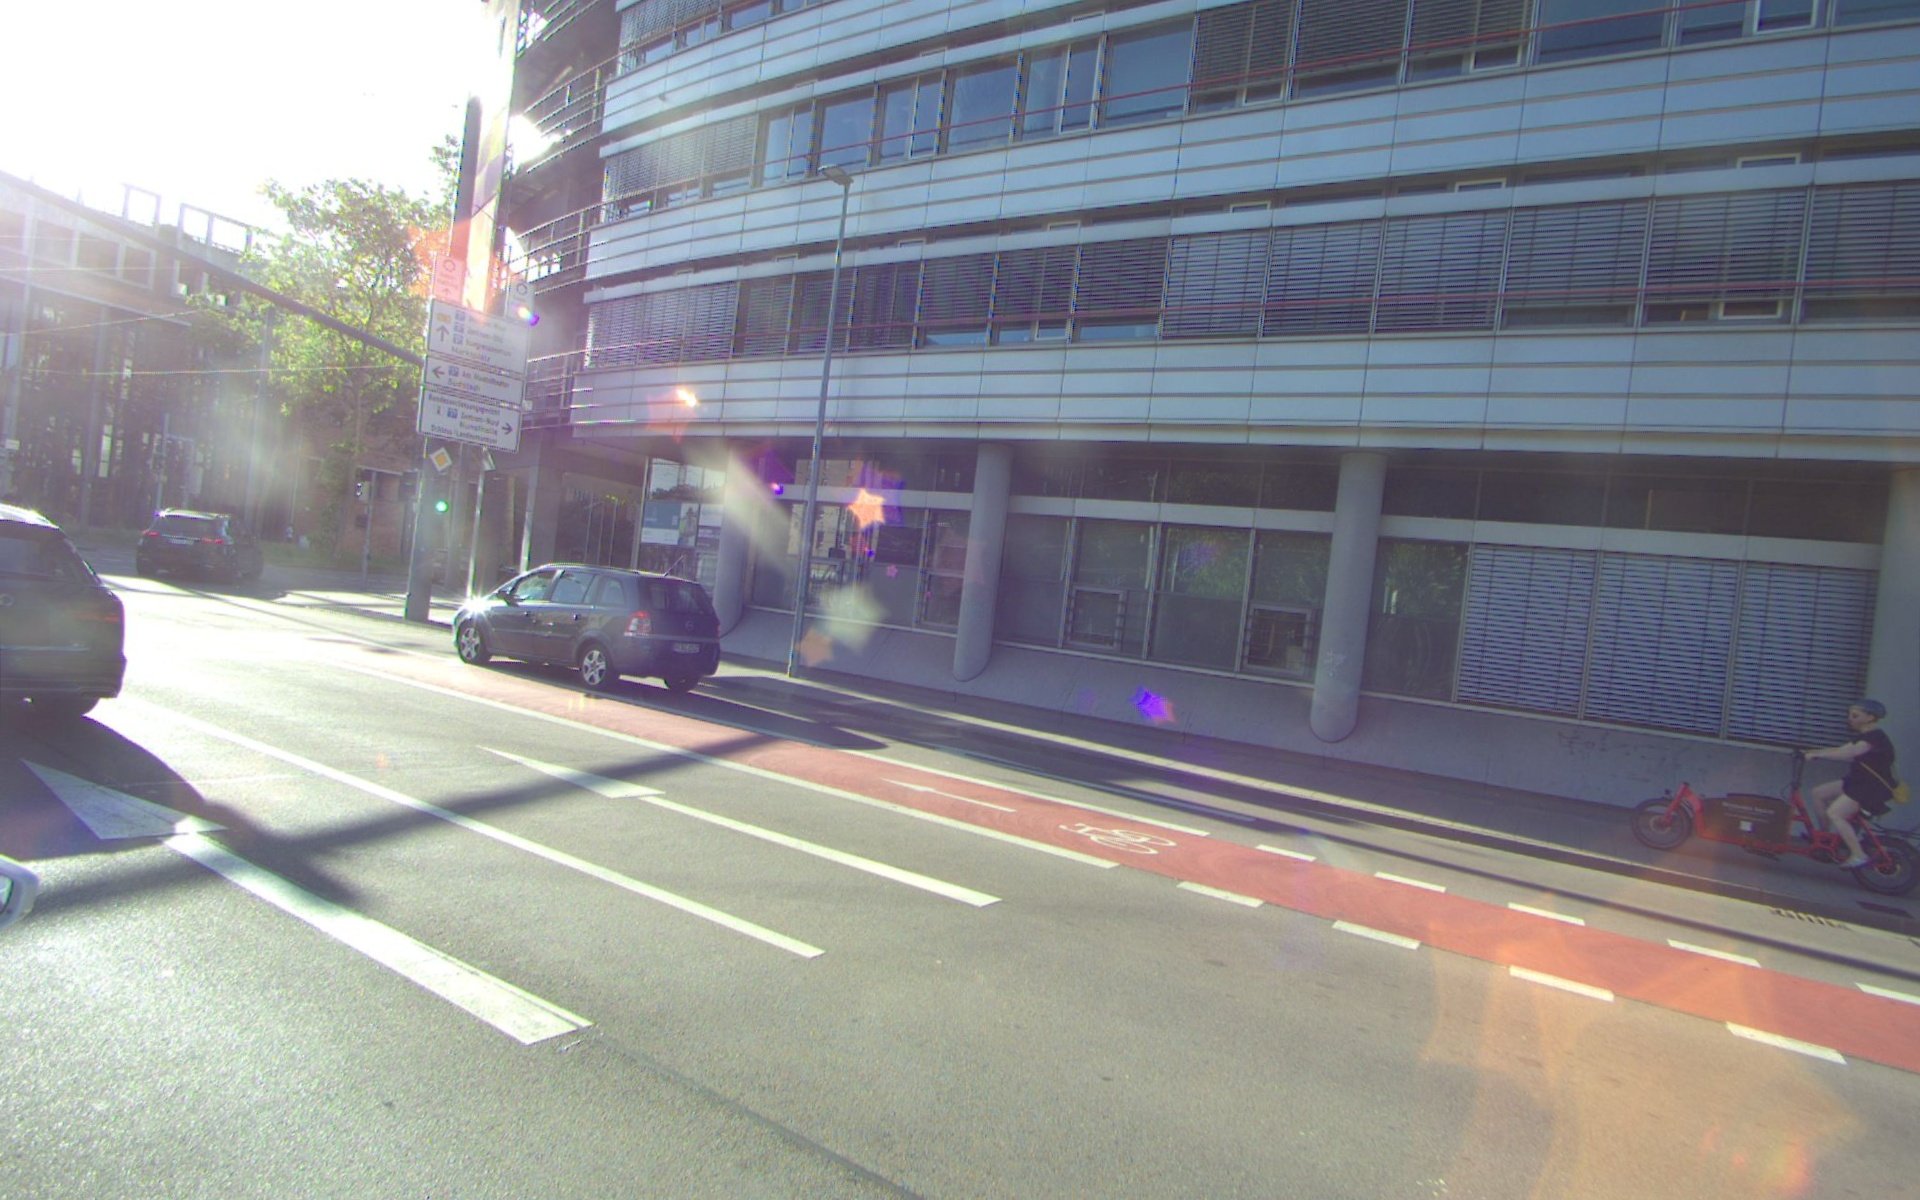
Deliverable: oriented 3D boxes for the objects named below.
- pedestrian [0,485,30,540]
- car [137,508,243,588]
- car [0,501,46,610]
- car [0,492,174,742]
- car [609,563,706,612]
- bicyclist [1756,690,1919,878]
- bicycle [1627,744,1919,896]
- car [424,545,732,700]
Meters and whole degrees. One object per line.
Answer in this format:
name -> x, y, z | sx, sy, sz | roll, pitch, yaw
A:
pedestrian -> -32.671, -2.996, 34.674 | 0.701, 1.781, 0.556 | 6, 1, -33
car -> -20.633, -1.422, 26.983 | 1.984, 1.771, 4.283 | 7, 0, -38
car -> -15.302, -0.872, 14.558 | 3.931, 1.474, 1.812 | 7, -1, 29
car -> -7.772, -0.109, 7.053 | 4.418, 1.509, 1.816 | 6, -1, 28
car -> -13.458, -0.526, 45.013 | 1.832, 1.670, 4.000 | 7, -2, 24
bicyclist -> 8.485, 1.736, 9.729 | 1.026, 1.588, 0.624 | 4, 3, 28
bicycle -> 7.992, 2.127, 9.970 | 2.168, 1.047, 0.499 | 5, 4, 27
car -> -5.570, 0.285, 14.497 | 4.388, 1.649, 1.690 | 7, 0, 31
